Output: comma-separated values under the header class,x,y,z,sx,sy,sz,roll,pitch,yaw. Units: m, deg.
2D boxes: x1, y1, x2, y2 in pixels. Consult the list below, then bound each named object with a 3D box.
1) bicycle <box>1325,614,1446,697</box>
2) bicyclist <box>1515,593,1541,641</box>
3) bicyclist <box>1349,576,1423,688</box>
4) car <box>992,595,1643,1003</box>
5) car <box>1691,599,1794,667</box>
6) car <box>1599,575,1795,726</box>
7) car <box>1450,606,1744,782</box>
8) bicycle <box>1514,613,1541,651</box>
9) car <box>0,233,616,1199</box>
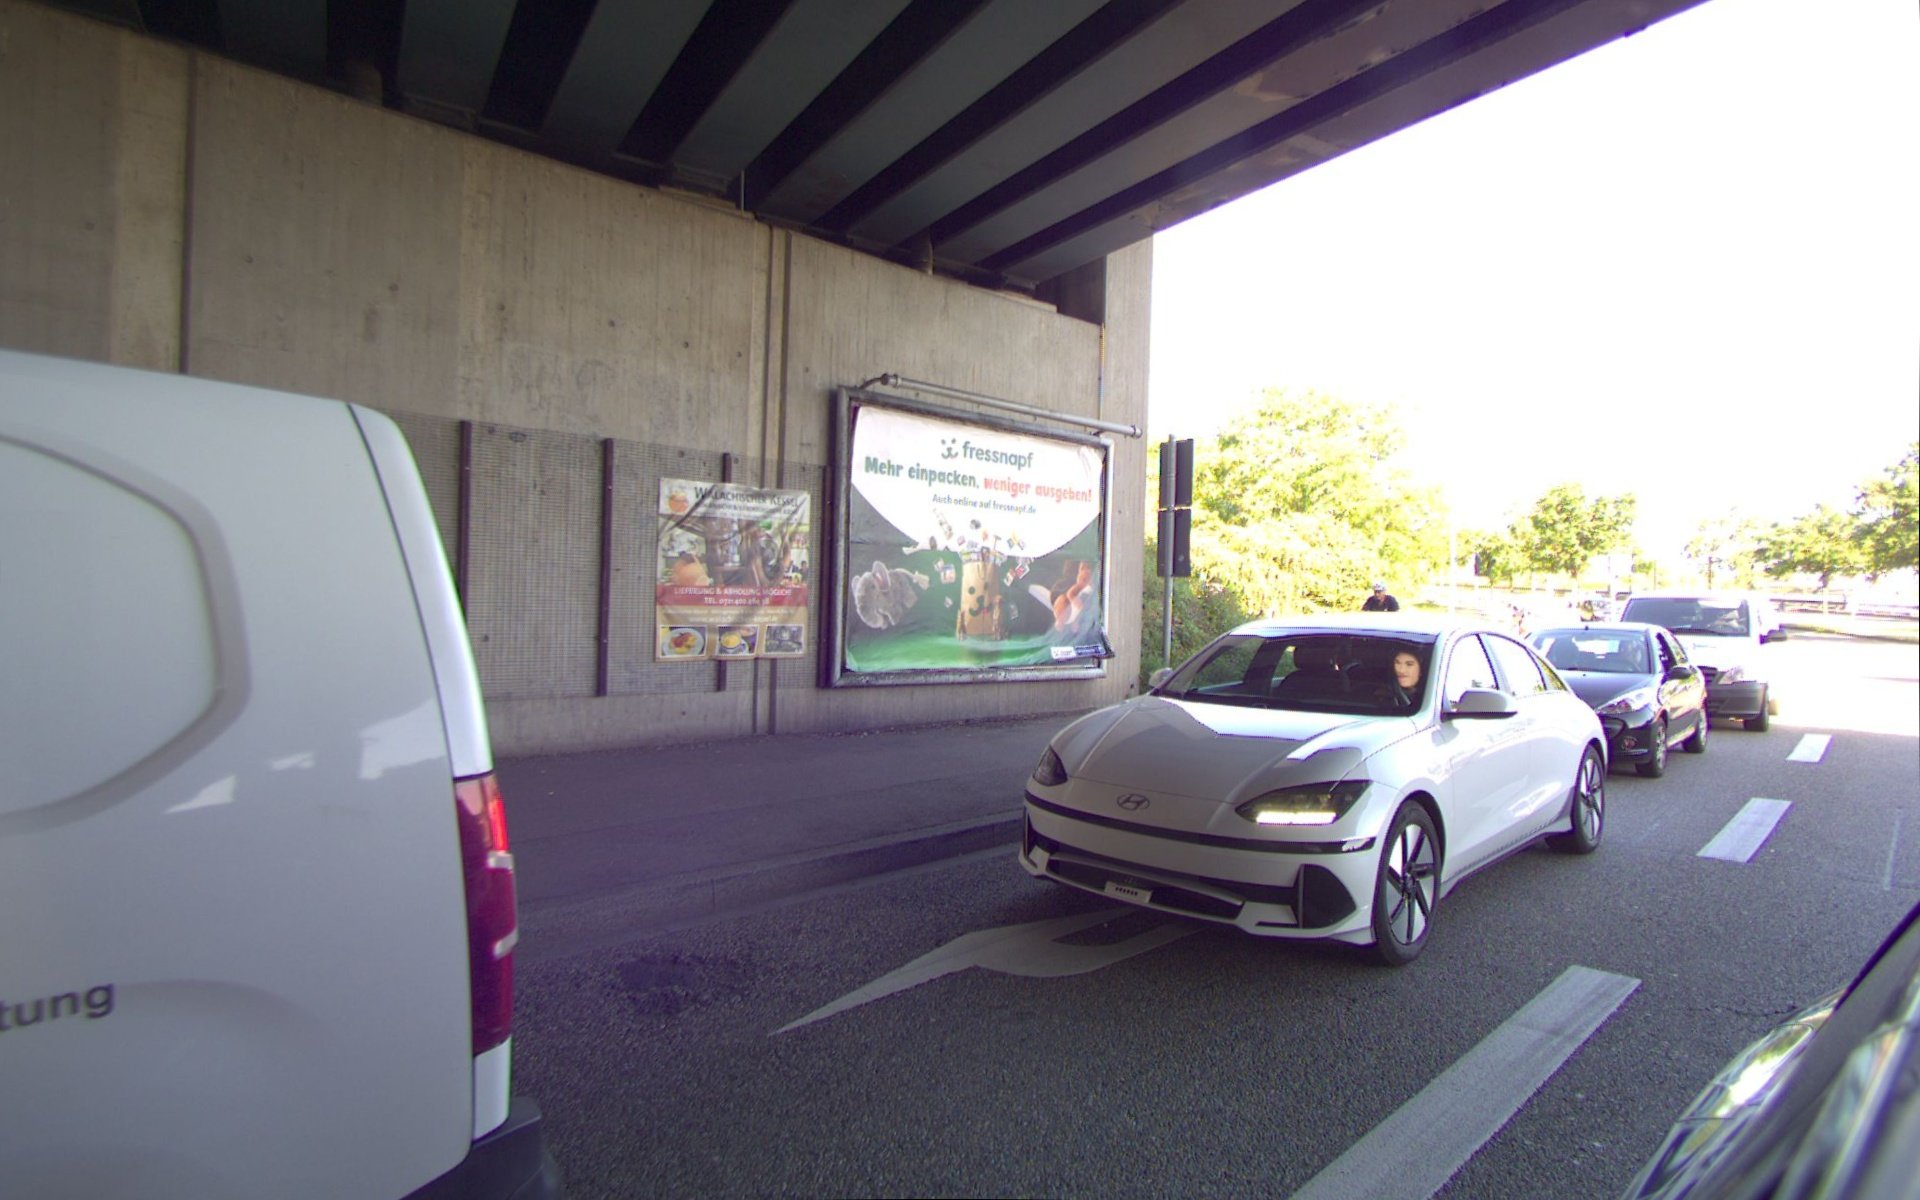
class,x,y,z,sx,sy,sz,roll,pitch,yaw
bicycle,6.673,0.814,15.786,2.427,1.160,0.766,0,0,-42
bicyclist,19.008,0.547,33.862,0.649,1.552,0.838,4,1,28
bicyclist,6.622,0.484,15.740,0.871,1.676,0.748,0,0,-41
car,2.399,0.725,5.913,4.587,1.474,1.747,0,0,-44
car,20.382,0.784,26.333,1.990,1.570,4.358,1,1,39
car,10.958,0.655,14.898,1.896,1.859,4.761,0,-1,42
car,6.707,0.812,10.512,3.654,1.474,1.747,0,0,-43
bicycle,18.966,1.048,33.859,0.647,1.181,1.761,4,2,27
car,-2.702,0.504,0.793,4.226,1.857,1.816,1,-1,-42
